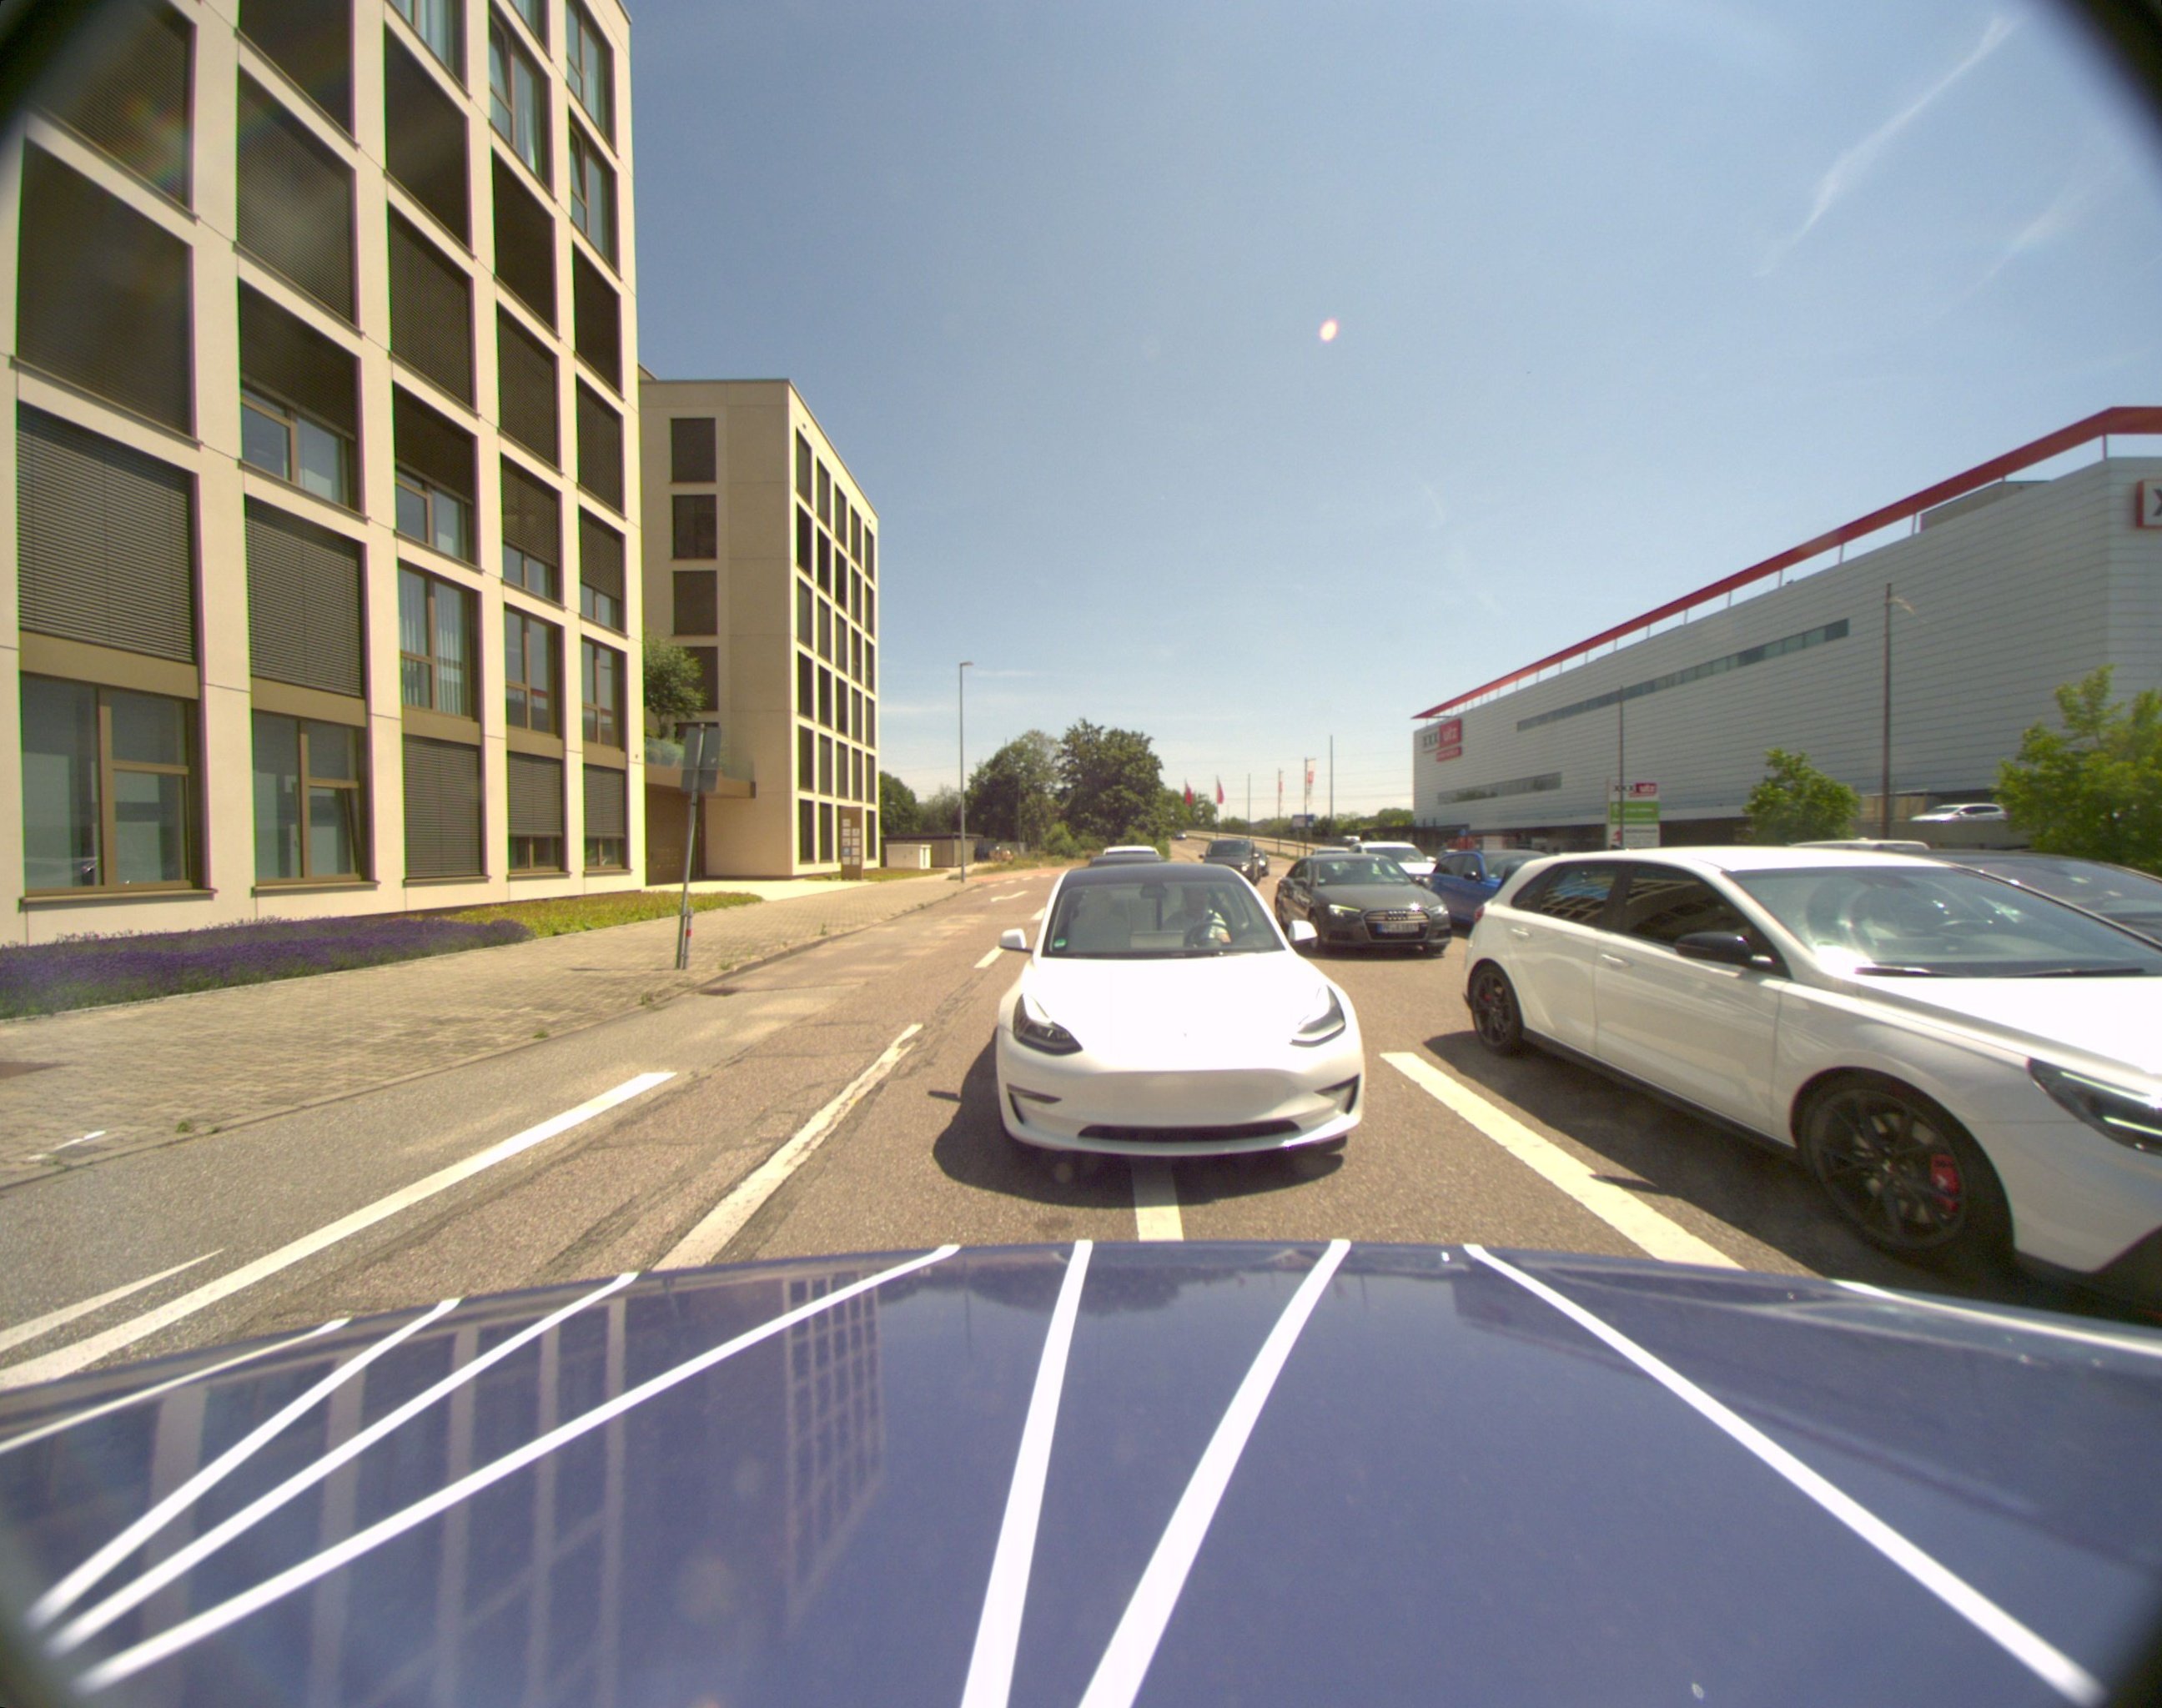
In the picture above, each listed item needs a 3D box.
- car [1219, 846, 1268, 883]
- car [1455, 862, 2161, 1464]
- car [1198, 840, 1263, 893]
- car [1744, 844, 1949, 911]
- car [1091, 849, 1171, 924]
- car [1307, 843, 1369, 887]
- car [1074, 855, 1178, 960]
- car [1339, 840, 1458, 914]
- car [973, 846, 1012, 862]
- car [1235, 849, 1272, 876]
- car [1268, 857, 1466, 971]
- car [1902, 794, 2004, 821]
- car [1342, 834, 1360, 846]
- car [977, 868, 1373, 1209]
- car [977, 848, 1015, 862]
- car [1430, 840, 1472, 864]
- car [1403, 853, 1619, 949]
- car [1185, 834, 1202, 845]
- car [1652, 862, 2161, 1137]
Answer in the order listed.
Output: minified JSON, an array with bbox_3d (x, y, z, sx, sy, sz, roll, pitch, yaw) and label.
[{"bbox_3d":[7.572,0.430,35.207,1.811,1.630,4.005,0,1,18],"label":"car"},{"bbox_3d":[3.690,0.820,3.658,1.792,1.428,4.070,-2,1,1],"label":"car"},{"bbox_3d":[5.721,0.396,28.644,1.893,1.811,4.842,0,1,17],"label":"car"},{"bbox_3d":[21.437,0.599,21.566,1.866,1.713,4.044,0,0,3],"label":"car"},{"bbox_3d":[1.271,0.710,18.816,1.777,1.600,3.821,0,1,5],"label":"car"},{"bbox_3d":[9.138,0.370,27.270,1.767,1.414,3.903,-2,0,14],"label":"car"},{"bbox_3d":[0.825,0.805,13.321,1.556,1.528,3.822,0,1,5],"label":"car"},{"bbox_3d":[7.984,0.506,19.544,1.768,1.632,4.494,-2,1,9],"label":"car"},{"bbox_3d":[-9.252,-0.008,79.179,3.834,1.543,1.736,0,1,-13],"label":"car"},{"bbox_3d":[9.895,0.458,43.437,1.606,1.431,3.738,0,1,19],"label":"car"},{"bbox_3d":[4.147,0.783,11.734,1.769,1.374,4.091,-2,0,5],"label":"car"},{"bbox_3d":[51.817,-2.765,45.188,3.996,1.499,1.717,0,1,2],"label":"car"},{"bbox_3d":[51.961,-2.668,146.278,2.191,2.270,4.814,0,1,4],"label":"car"},{"bbox_3d":[0.475,0.920,5.740,1.823,1.428,4.284,-2,1,1],"label":"car"},{"bbox_3d":[-9.127,0.104,81.216,3.834,1.386,1.736,0,1,-13],"label":"car"},{"bbox_3d":[28.007,-0.137,57.666,1.865,1.713,4.046,0,0,11],"label":"car"},{"bbox_3d":[7.405,0.710,13.666,1.768,1.395,4.433,-2,0,7],"label":"car"},{"bbox_3d":[19.588,-2.494,132.498,1.678,1.805,3.995,-1,1,-11],"label":"car"},{"bbox_3d":[6.633,0.794,5.523,1.675,1.396,4.467,-2,0,2],"label":"car"}]
